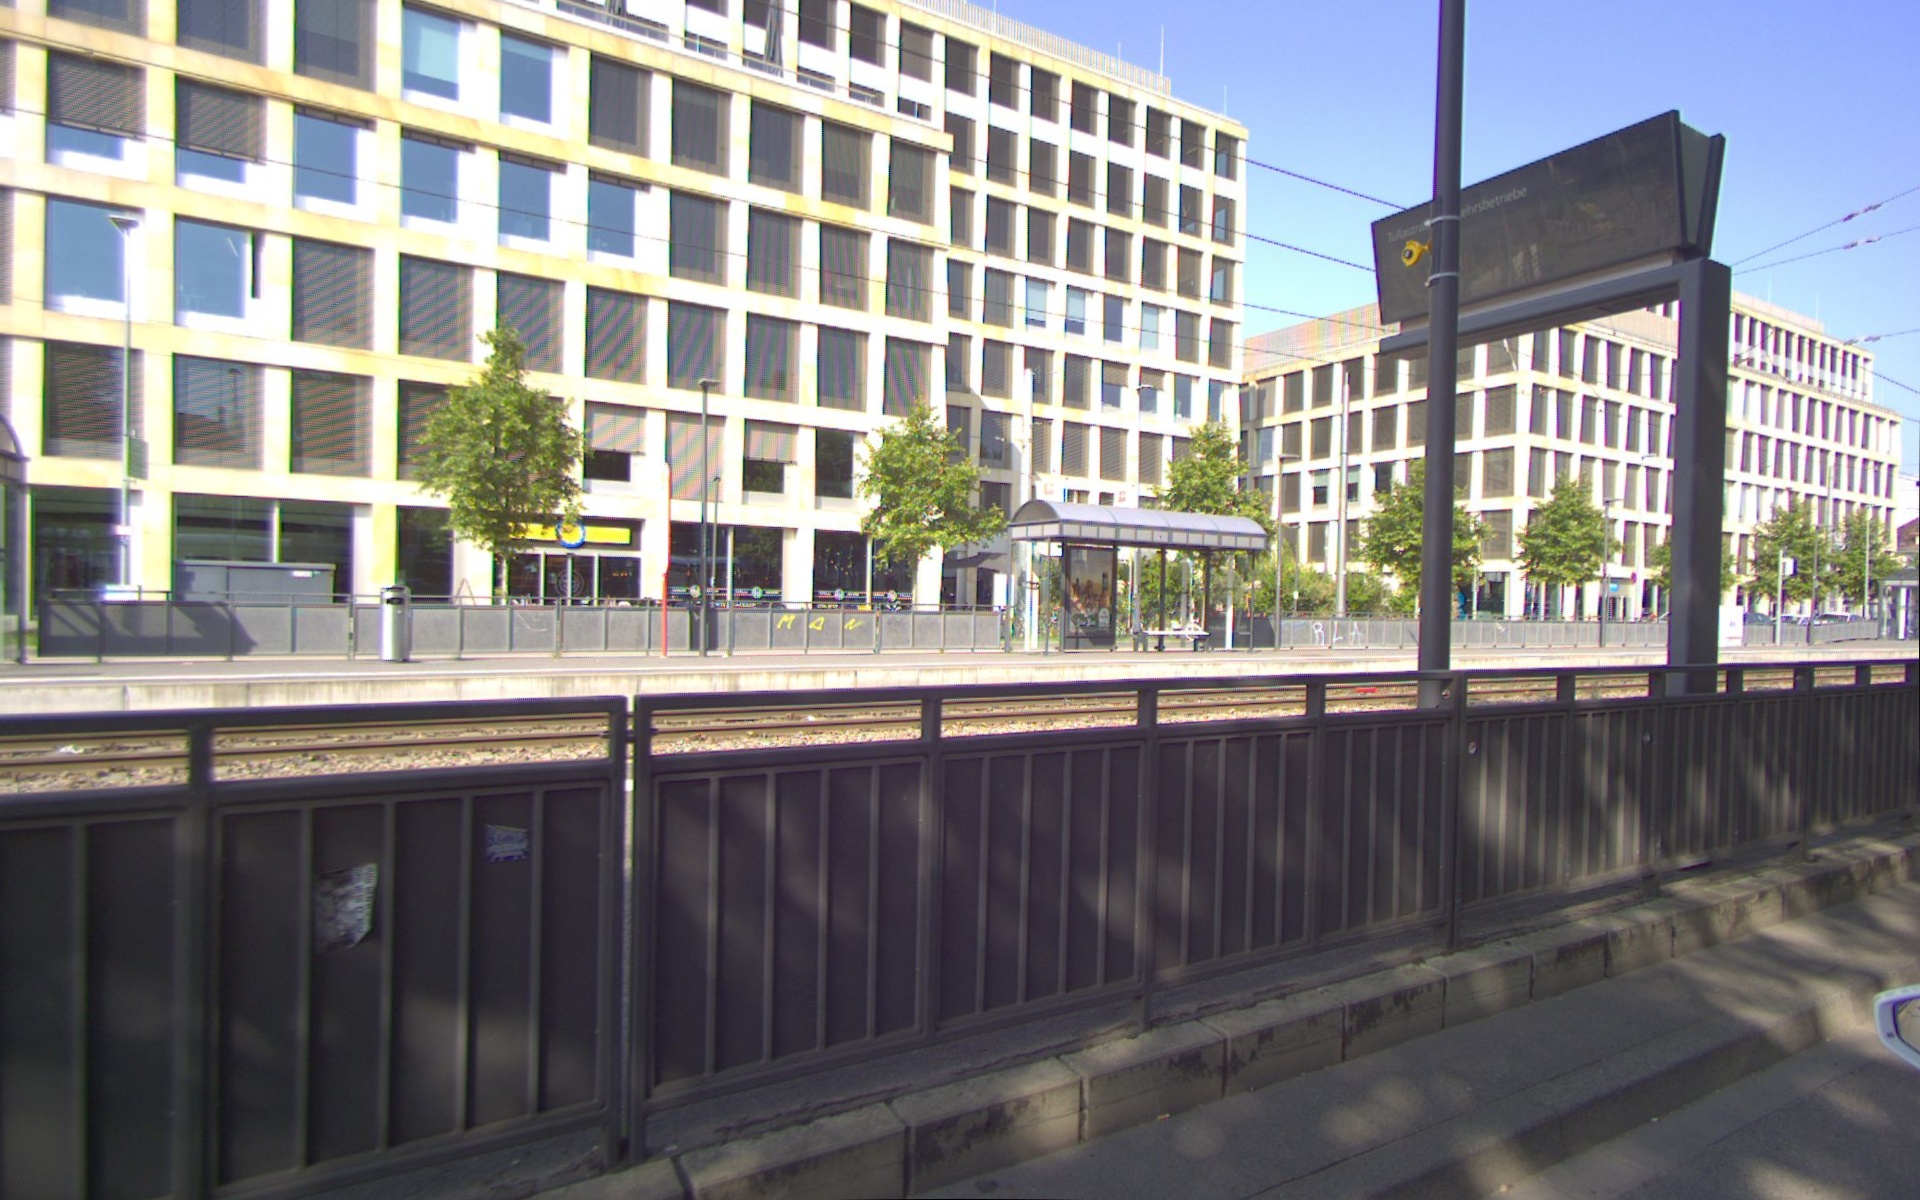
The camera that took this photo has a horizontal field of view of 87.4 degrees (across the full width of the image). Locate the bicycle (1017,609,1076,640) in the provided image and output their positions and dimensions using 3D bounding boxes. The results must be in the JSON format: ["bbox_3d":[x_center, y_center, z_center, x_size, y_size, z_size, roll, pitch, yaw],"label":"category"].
[{"bbox_3d":[3.025,0.850,35.332,0.812,0.999,2.421,1,0,-31],"label":"bicycle"}]

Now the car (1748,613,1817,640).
[{"bbox_3d":[46.369,1.491,56.612,4.173,1.395,1.634,1,0,-31],"label":"car"}]

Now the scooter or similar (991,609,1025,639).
[{"bbox_3d":[1.624,0.817,34.458,0.390,0.999,1.514,1,0,-31],"label":"scooter or similar"}]

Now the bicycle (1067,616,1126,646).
[{"bbox_3d":[5.005,1.129,36.899,0.812,0.999,2.421,1,0,-31],"label":"bicycle"}]
